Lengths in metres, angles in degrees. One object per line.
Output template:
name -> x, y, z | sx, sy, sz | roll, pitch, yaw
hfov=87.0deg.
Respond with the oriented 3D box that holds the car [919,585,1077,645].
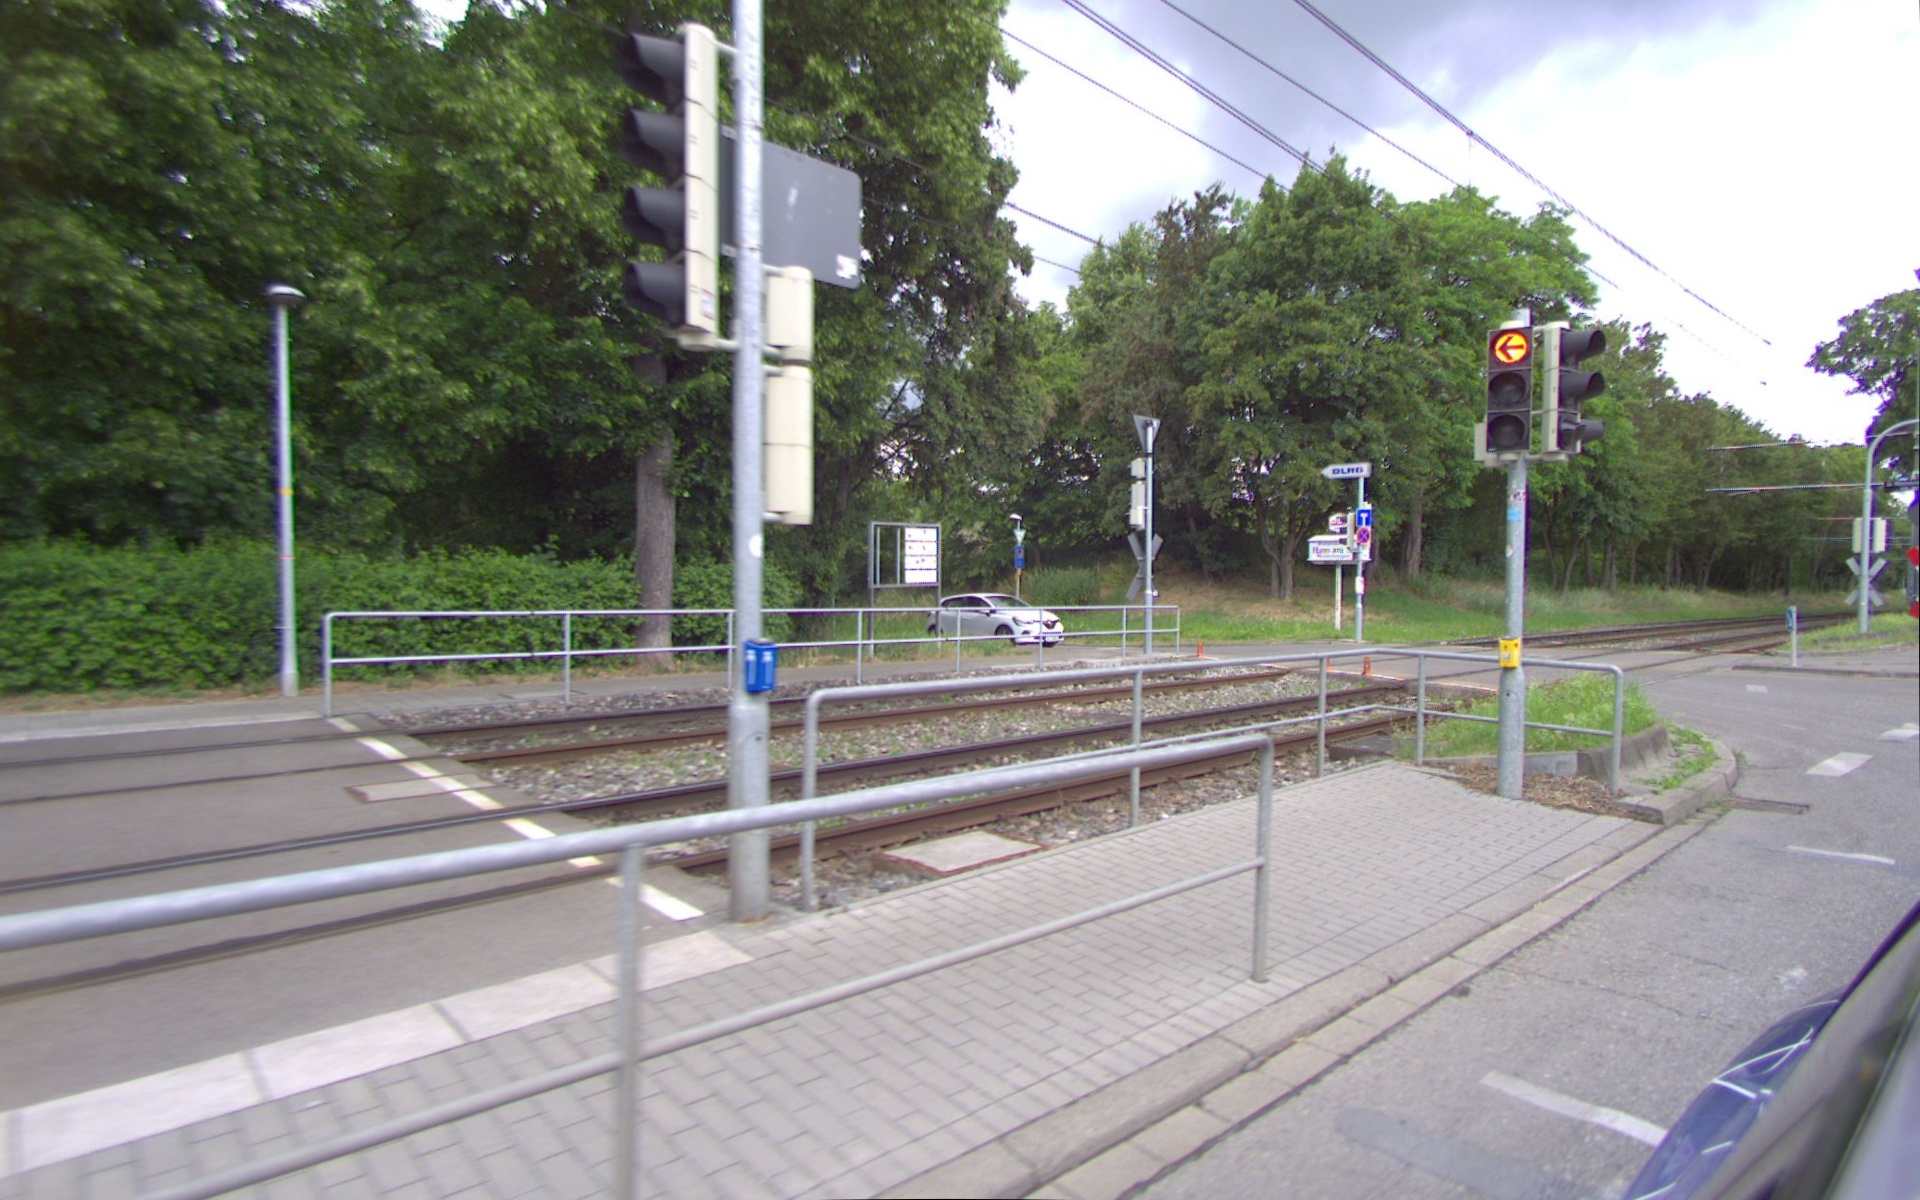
car -> 0.911, 0.391, 26.064 | 1.755, 1.402, 3.990 | -1, -1, -43
